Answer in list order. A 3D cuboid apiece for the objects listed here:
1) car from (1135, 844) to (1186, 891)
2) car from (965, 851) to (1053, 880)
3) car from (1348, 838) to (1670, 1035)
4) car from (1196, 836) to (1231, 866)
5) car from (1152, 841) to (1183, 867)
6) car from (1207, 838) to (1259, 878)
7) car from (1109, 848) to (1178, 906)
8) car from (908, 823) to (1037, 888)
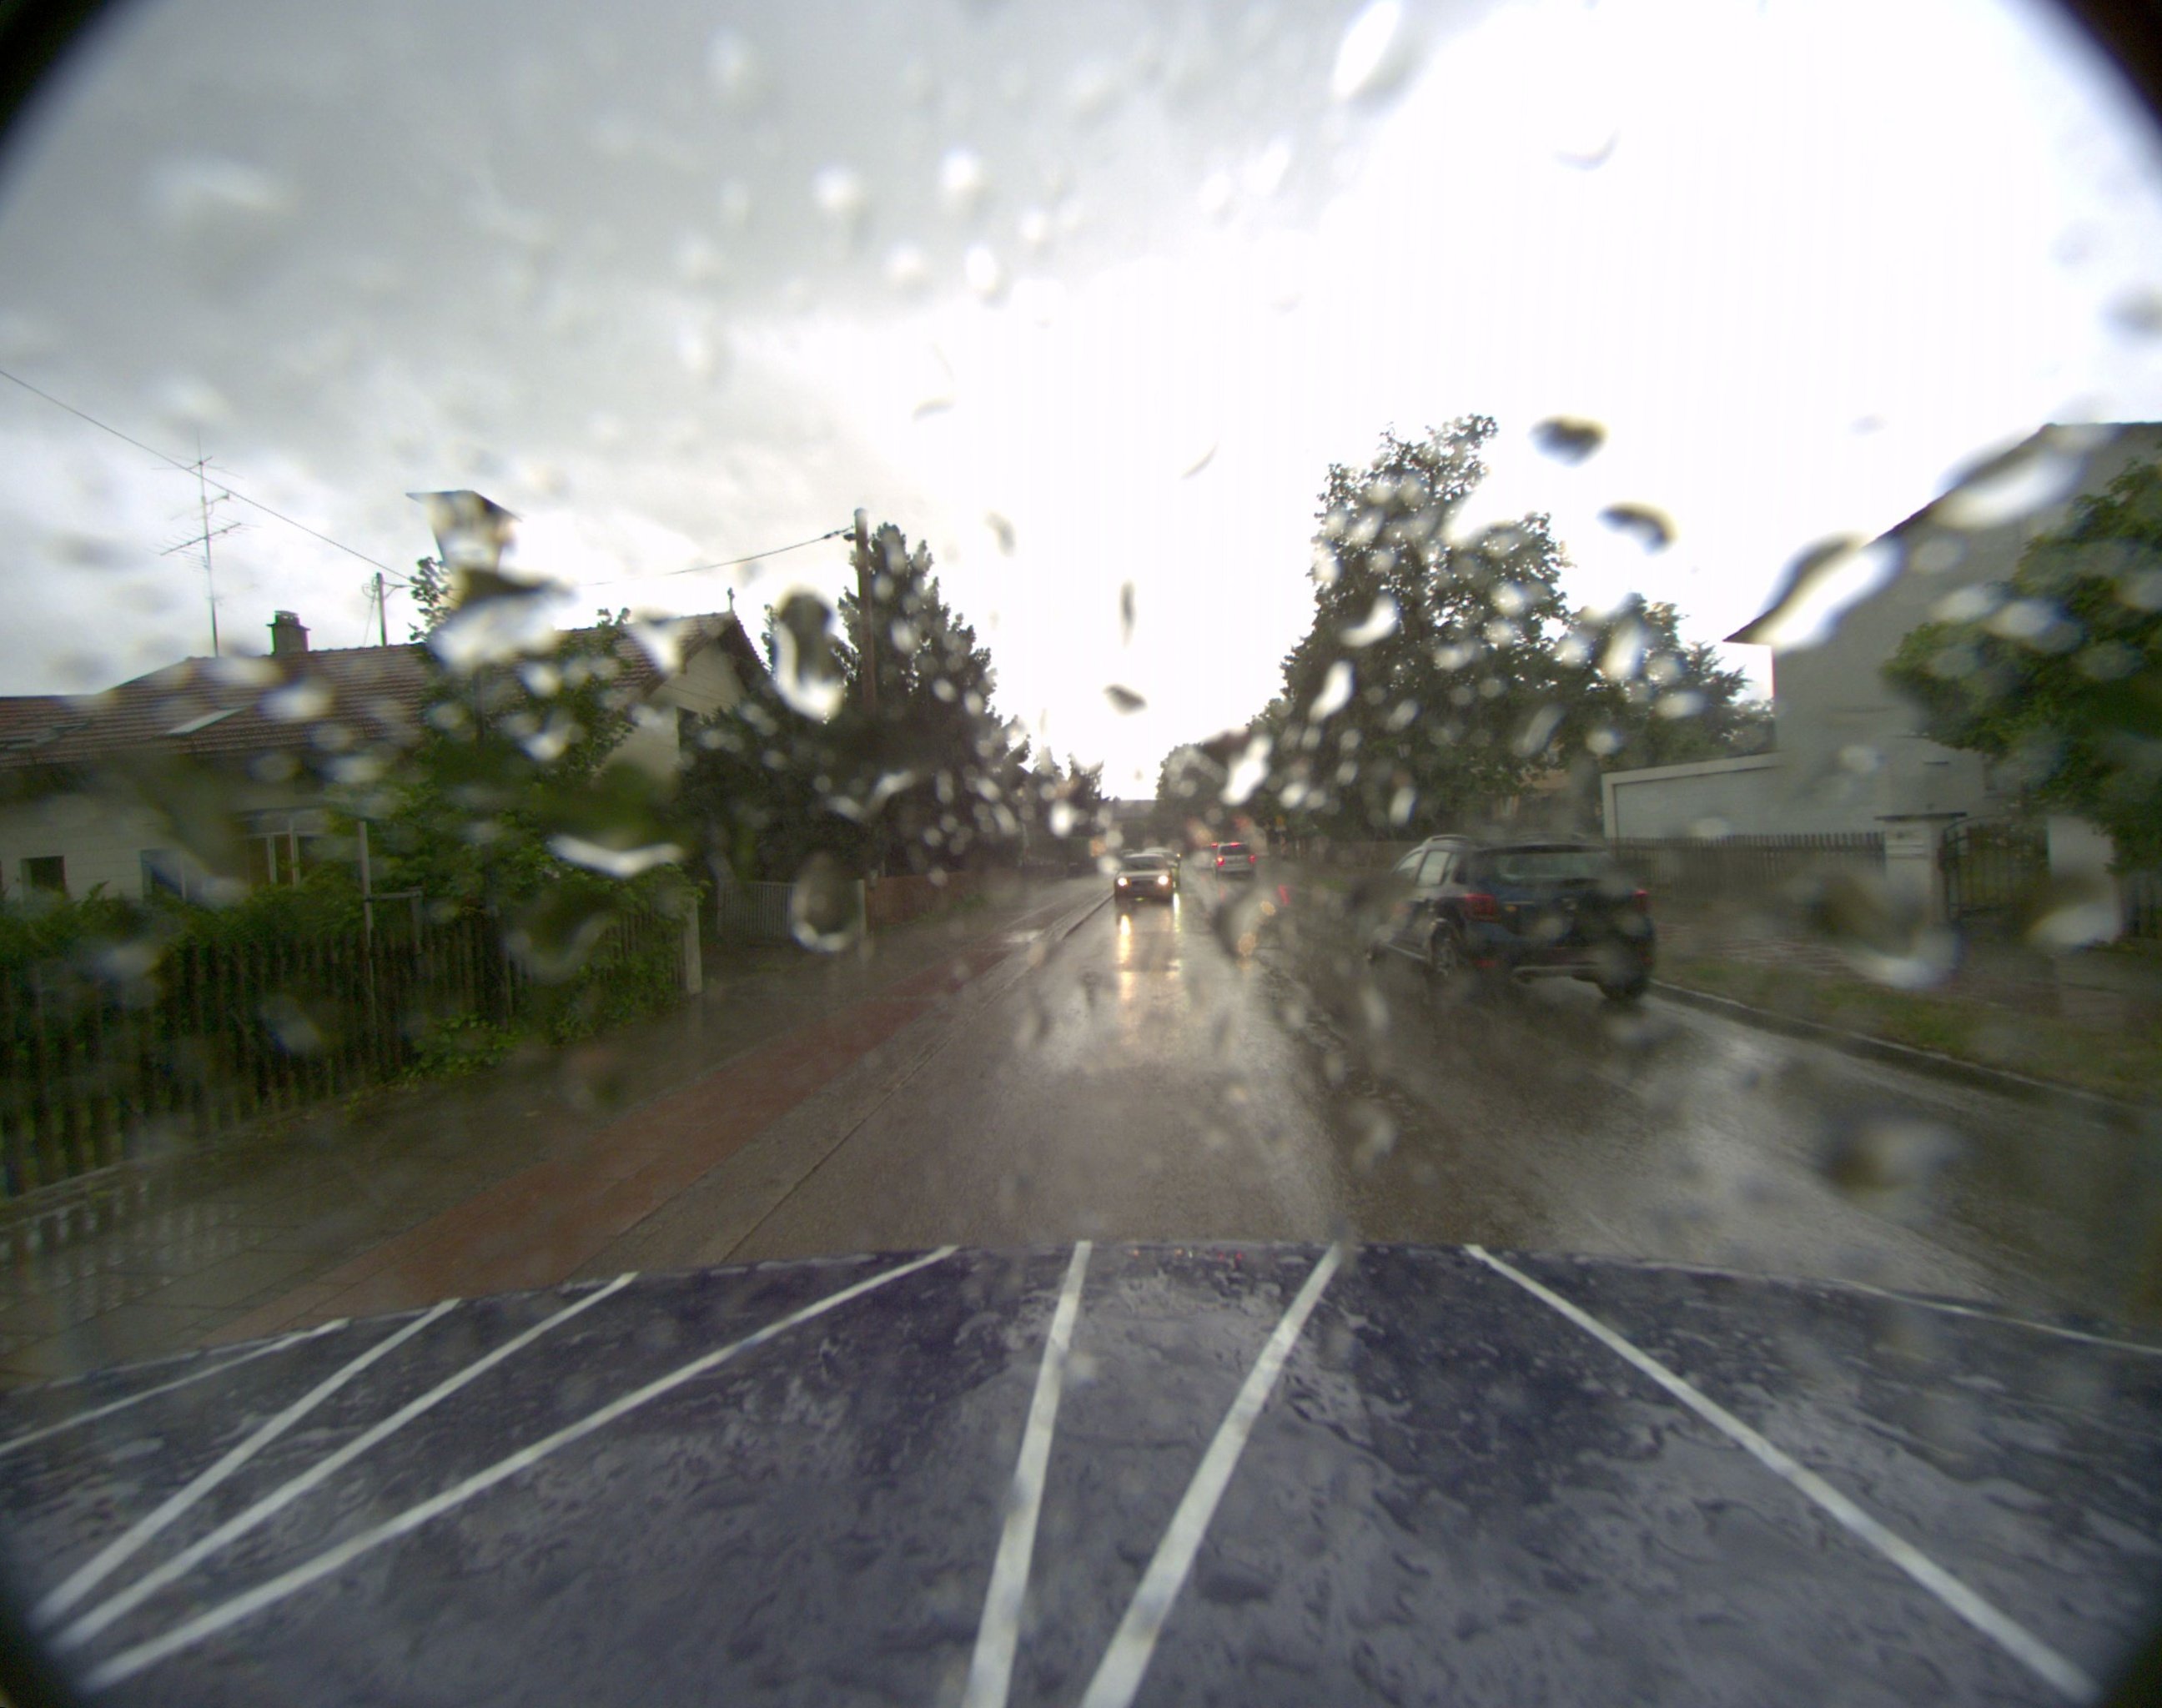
[{"bbox_3d":[3.368,0.489,31.969,1.871,1.603,4.962,-5,1,7],"label":"car"},{"bbox_3d":[-3.672,0.574,39.448,4.441,1.413,1.830,0,1,-1],"label":"car"},{"bbox_3d":[4.148,0.672,8.045,1.590,1.601,3.539,-2,1,4],"label":"car"},{"bbox_3d":[8.469,-0.234,48.716,1.926,1.734,4.193,-3,1,7],"label":"car"},{"bbox_3d":[5.888,-0.027,51.585,1.871,1.512,4.962,-5,1,7],"label":"car"},{"bbox_3d":[6.840,0.150,34.594,1.757,1.668,4.000,-1,1,3],"label":"car"},{"bbox_3d":[1.995,0.647,23.418,1.871,1.512,4.189,-3,1,7],"label":"car"},{"bbox_3d":[-4.597,0.042,32.809,5.318,2.712,1.999,0,1,-3],"label":"car"}]
